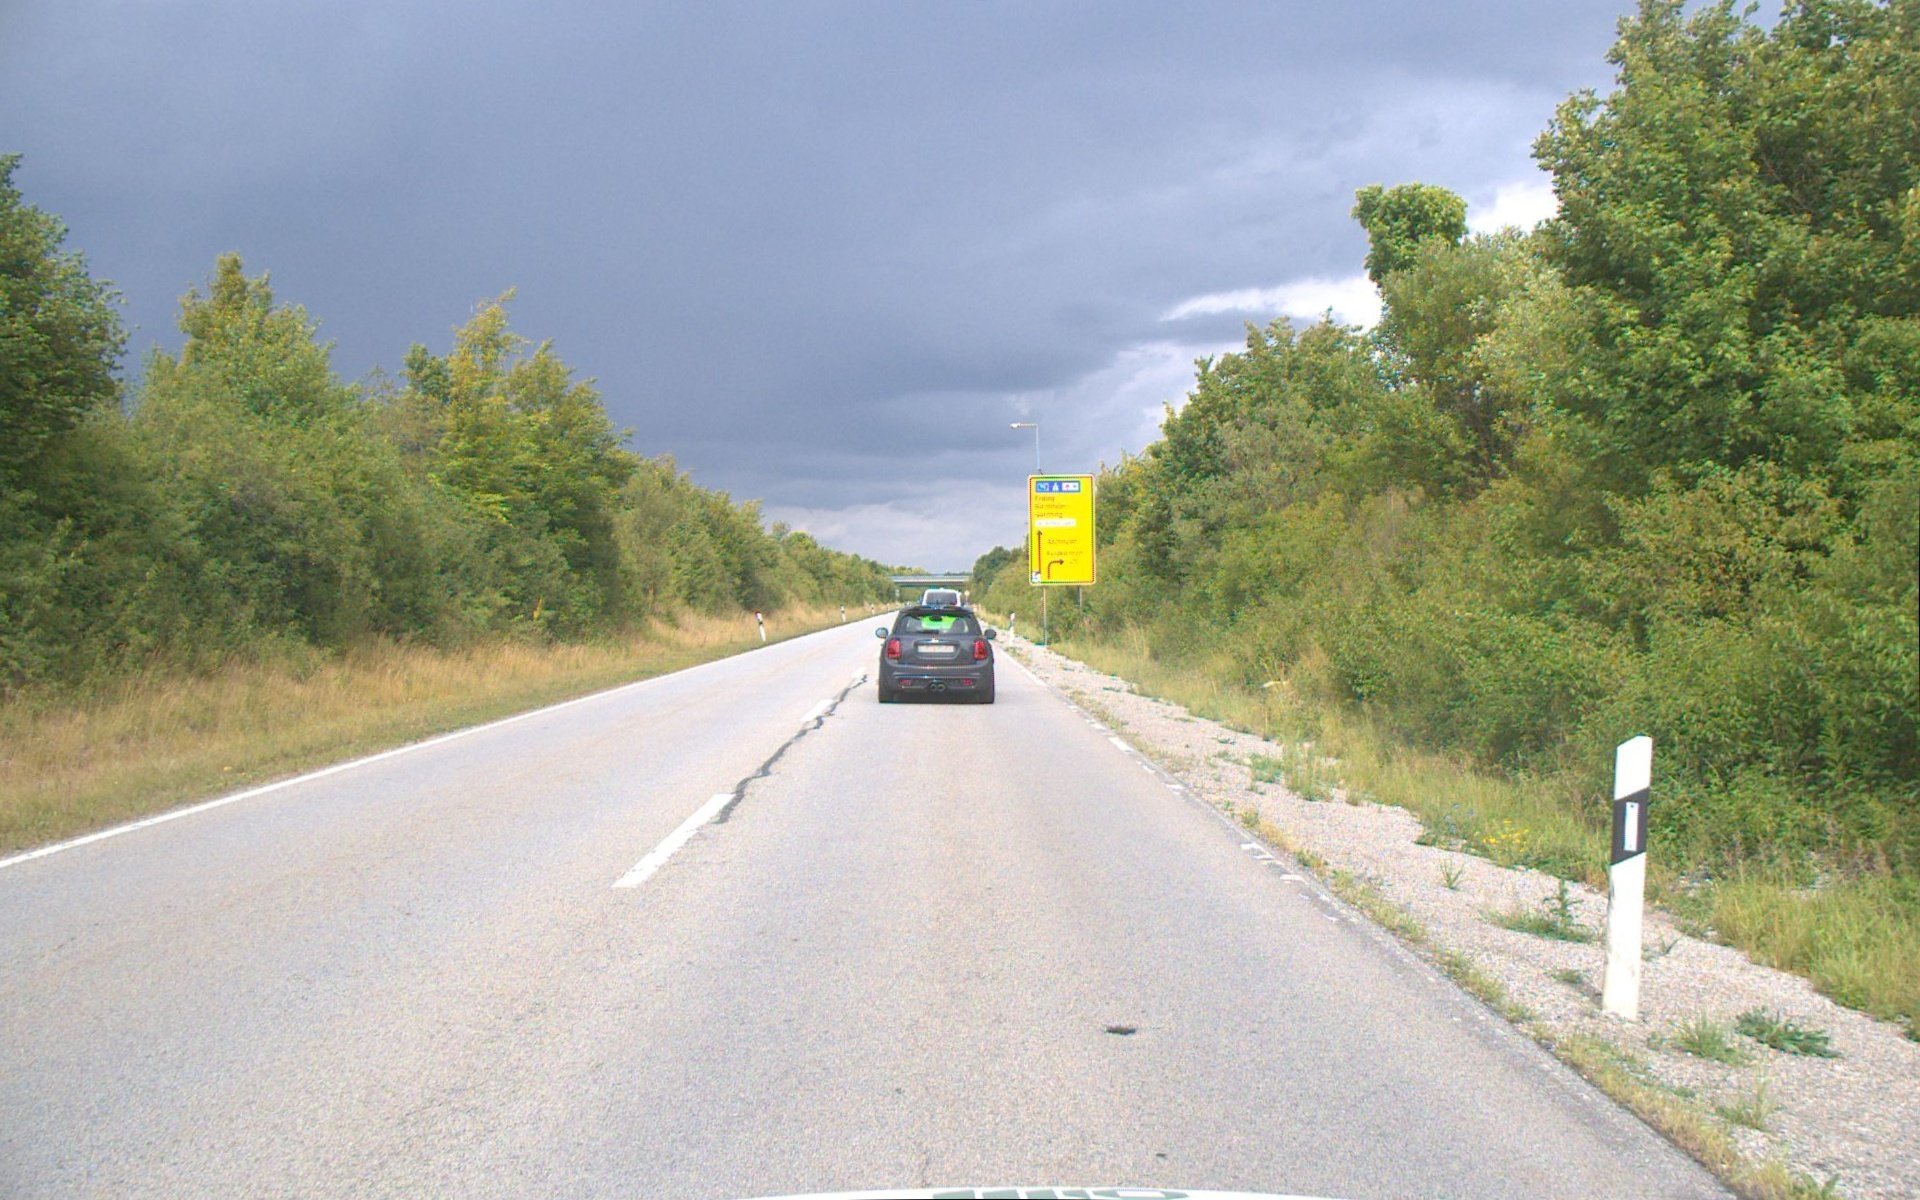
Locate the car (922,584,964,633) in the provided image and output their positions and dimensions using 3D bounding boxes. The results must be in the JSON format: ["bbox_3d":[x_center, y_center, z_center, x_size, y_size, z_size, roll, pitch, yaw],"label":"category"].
[{"bbox_3d":[-0.767,0.389,74.110,1.782,2.090,3.999,1,0,-1],"label":"car"}]

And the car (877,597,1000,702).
[{"bbox_3d":[-0.345,0.716,25.582,1.721,1.452,3.999,1,0,-1],"label":"car"}]
